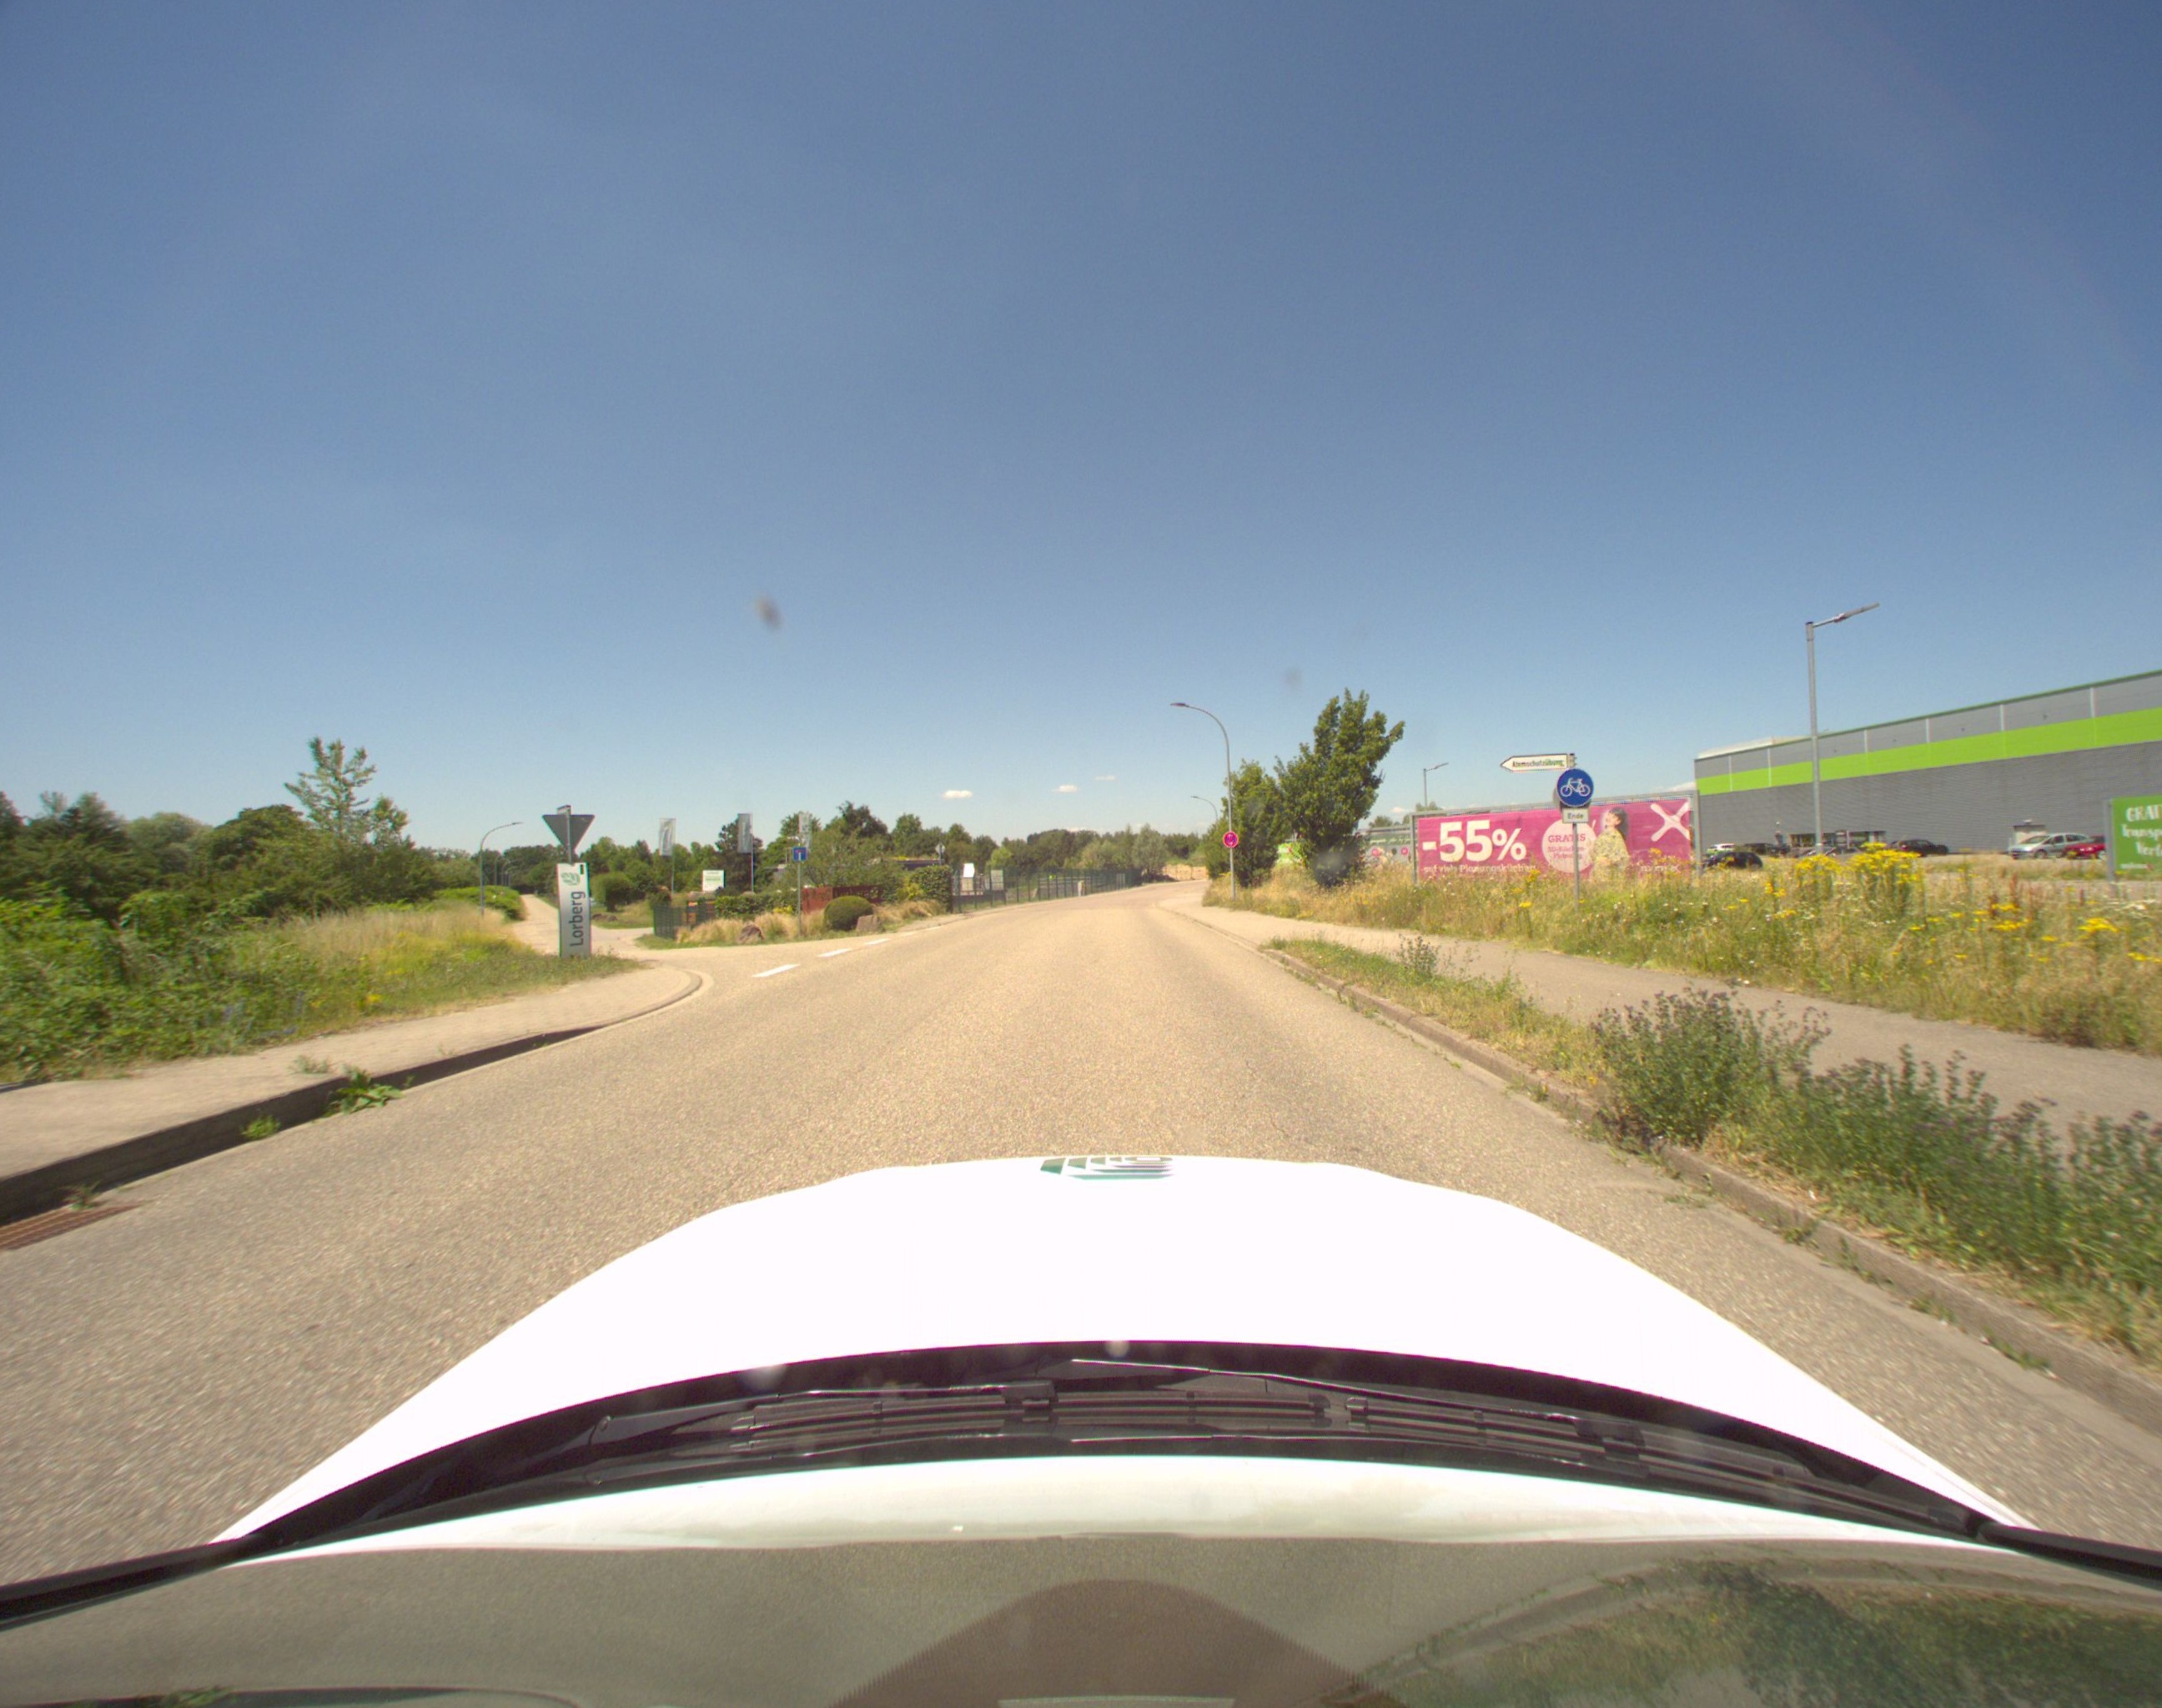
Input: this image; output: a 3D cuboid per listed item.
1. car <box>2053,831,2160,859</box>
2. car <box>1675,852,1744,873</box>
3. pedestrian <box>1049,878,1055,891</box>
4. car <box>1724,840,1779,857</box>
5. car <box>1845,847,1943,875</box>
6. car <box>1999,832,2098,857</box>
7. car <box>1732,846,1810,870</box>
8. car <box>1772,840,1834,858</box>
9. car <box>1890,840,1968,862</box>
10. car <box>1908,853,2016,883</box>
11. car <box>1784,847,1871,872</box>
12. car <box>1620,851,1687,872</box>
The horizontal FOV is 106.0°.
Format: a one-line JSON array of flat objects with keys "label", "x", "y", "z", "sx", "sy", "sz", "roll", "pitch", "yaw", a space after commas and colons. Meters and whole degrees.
[{"label": "car", "x": 64.279, "y": -0.572, "z": 51.114, "sx": 3.970, "sy": 1.519, "sz": 2.001, "roll": -2, "pitch": -3, "yaw": 3}, {"label": "car", "x": 50.766, "y": 0.674, "z": 65.826, "sx": 3.970, "sy": 1.519, "sz": 2.001, "roll": -2, "pitch": -3, "yaw": 3}, {"label": "pedestrian", "x": -4.008, "y": 4.166, "z": 110.901, "sx": 0.602, "sy": 1.839, "sz": 0.807, "roll": -3, "pitch": -2, "yaw": 9}, {"label": "car", "x": 68.851, "y": -0.578, "z": 83.669, "sx": 3.970, "sy": 1.519, "sz": 2.001, "roll": -2, "pitch": -3, "yaw": 3}, {"label": "car", "x": 50.491, "y": 0.463, "z": 50.641, "sx": 3.970, "sy": 1.519, "sz": 2.001, "roll": -2, "pitch": -3, "yaw": 3}, {"label": "car", "x": 64.395, "y": -0.622, "z": 54.267, "sx": 3.970, "sy": 1.475, "sz": 2.001, "roll": -2, "pitch": -3, "yaw": 3}, {"label": "car", "x": 51.186, "y": 0.308, "z": 60.500, "sx": 3.970, "sy": 1.519, "sz": 2.001, "roll": -2, "pitch": -3, "yaw": 3}, {"label": "car", "x": 68.261, "y": -0.475, "z": 77.081, "sx": 3.970, "sy": 1.519, "sz": 2.001, "roll": -2, "pitch": -3, "yaw": 3}, {"label": "car", "x": 66.947, "y": -0.227, "z": 64.343, "sx": 3.970, "sy": 1.519, "sz": 2.001, "roll": -2, "pitch": -3, "yaw": 3}, {"label": "car", "x": 51.143, "y": 0.836, "z": 47.336, "sx": 3.971, "sy": 1.519, "sz": 2.001, "roll": -2, "pitch": -3, "yaw": 2}, {"label": "car", "x": 51.467, "y": 0.376, "z": 56.215, "sx": 3.970, "sy": 1.519, "sz": 2.001, "roll": -2, "pitch": -3, "yaw": 3}, {"label": "car", "x": 46.731, "y": 0.647, "z": 66.511, "sx": 3.970, "sy": 1.519, "sz": 2.001, "roll": -2, "pitch": -3, "yaw": 3}]
